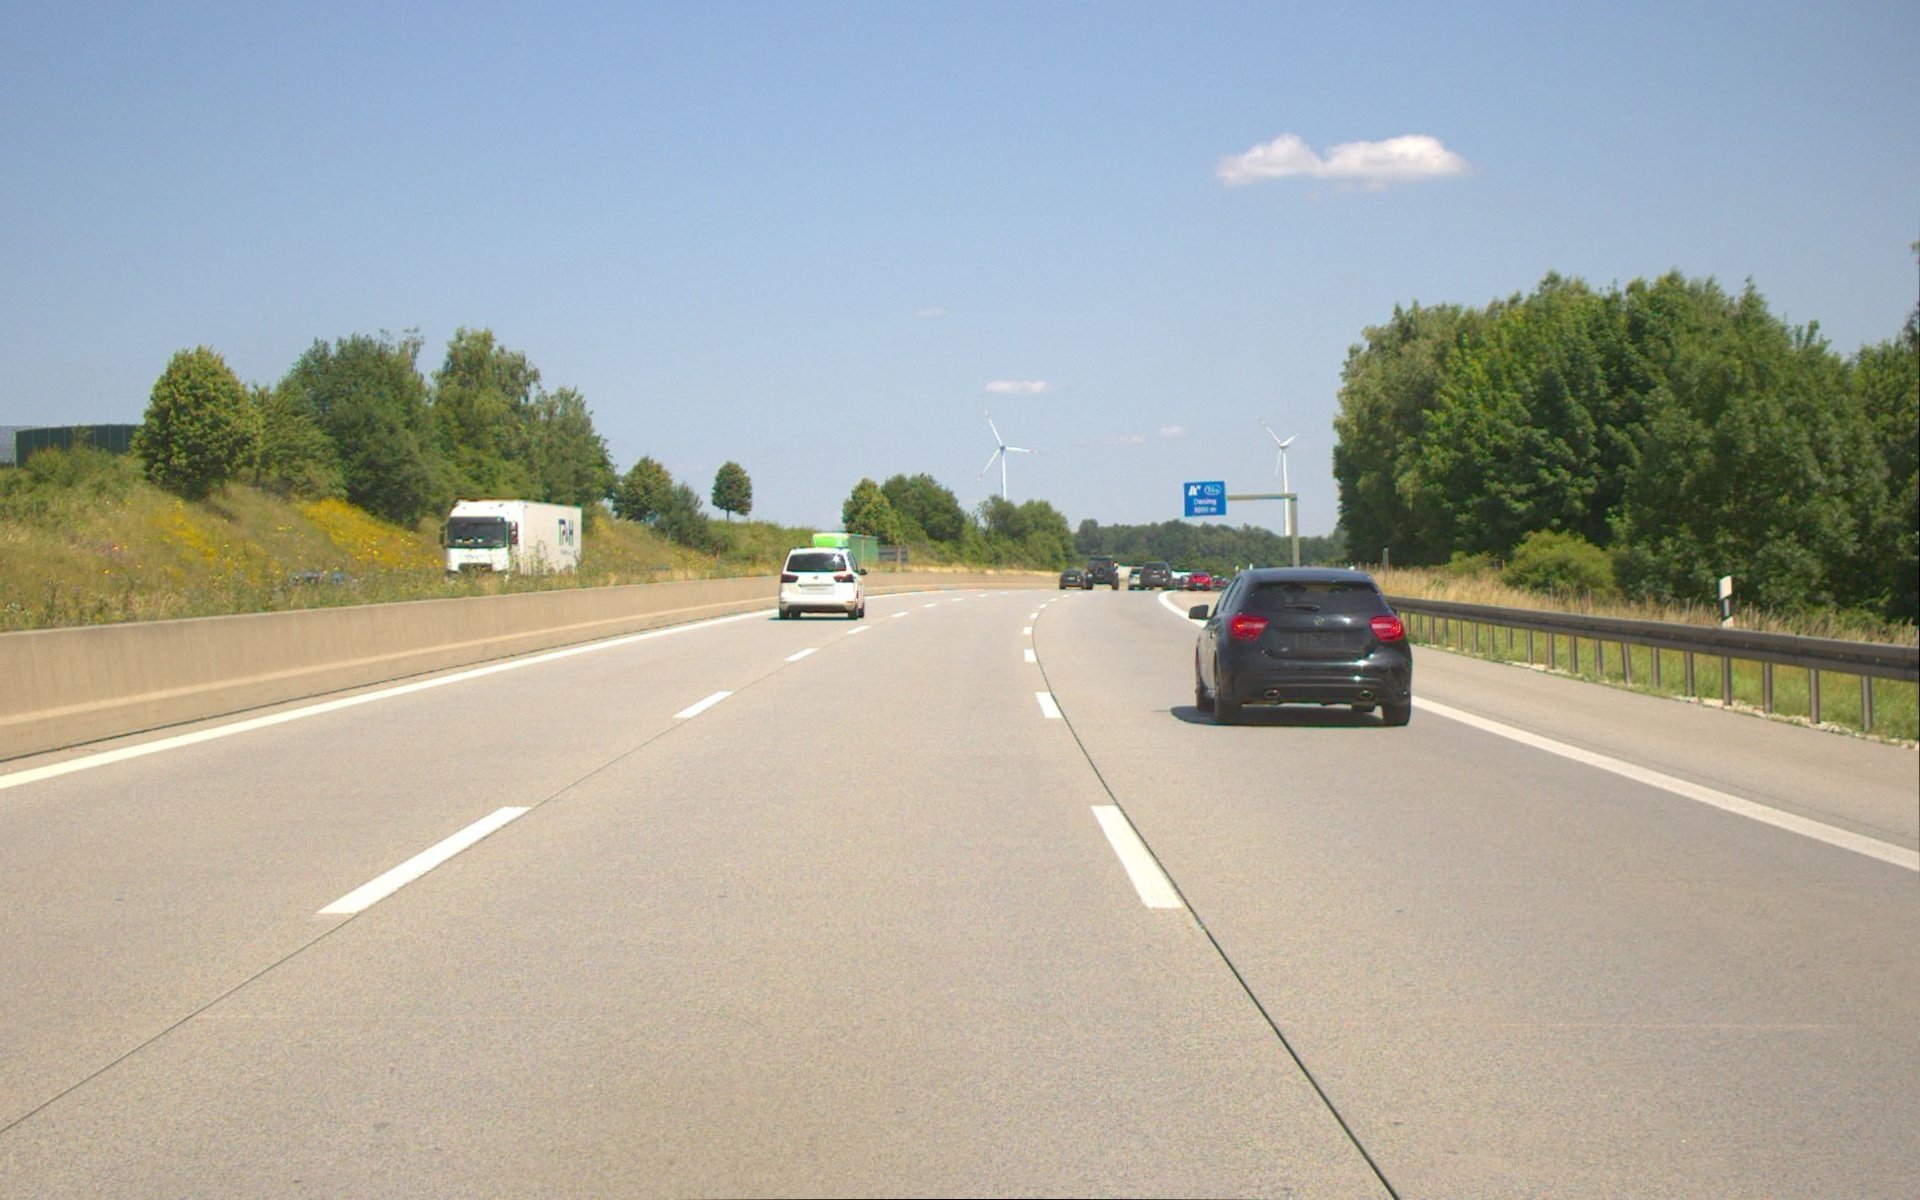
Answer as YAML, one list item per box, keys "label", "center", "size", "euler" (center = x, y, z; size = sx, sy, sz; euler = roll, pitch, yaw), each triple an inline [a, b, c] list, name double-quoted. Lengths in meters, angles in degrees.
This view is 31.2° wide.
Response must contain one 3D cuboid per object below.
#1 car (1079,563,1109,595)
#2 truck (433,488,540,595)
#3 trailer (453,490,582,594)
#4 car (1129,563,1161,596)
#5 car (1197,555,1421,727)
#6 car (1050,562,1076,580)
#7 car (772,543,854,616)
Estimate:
- label: "car"
  center: [8.350, -1.312, 215.043]
  size: [1.827, 1.931, 3.809]
  euler: [0, 1, 2]
- label: "truck"
  center: [-18.476, -2.286, 134.635]
  size: [2.991, 4.046, 6.869]
  euler: [0, 1, 2]
- label: "trailer"
  center: [-18.198, -2.392, 142.396]
  size: [3.006, 4.046, 14.177]
  euler: [0, 1, 2]
- label: "car"
  center: [10.741, -1.196, 199.701]
  size: [1.827, 1.900, 4.000]
  euler: [0, 1, 3]
- label: "car"
  center: [3.237, 0.334, 32.578]
  size: [1.910, 1.487, 4.191]
  euler: [1, 1, 3]
- label: "car"
  center: [7.429, -2.122, 248.368]
  size: [1.655, 1.192, 3.960]
  euler: [2, 1, -1]
- label: "car"
  center: [-3.503, -0.502, 82.824]
  size: [1.845, 1.702, 6.036]
  euler: [0, 0, -1]
